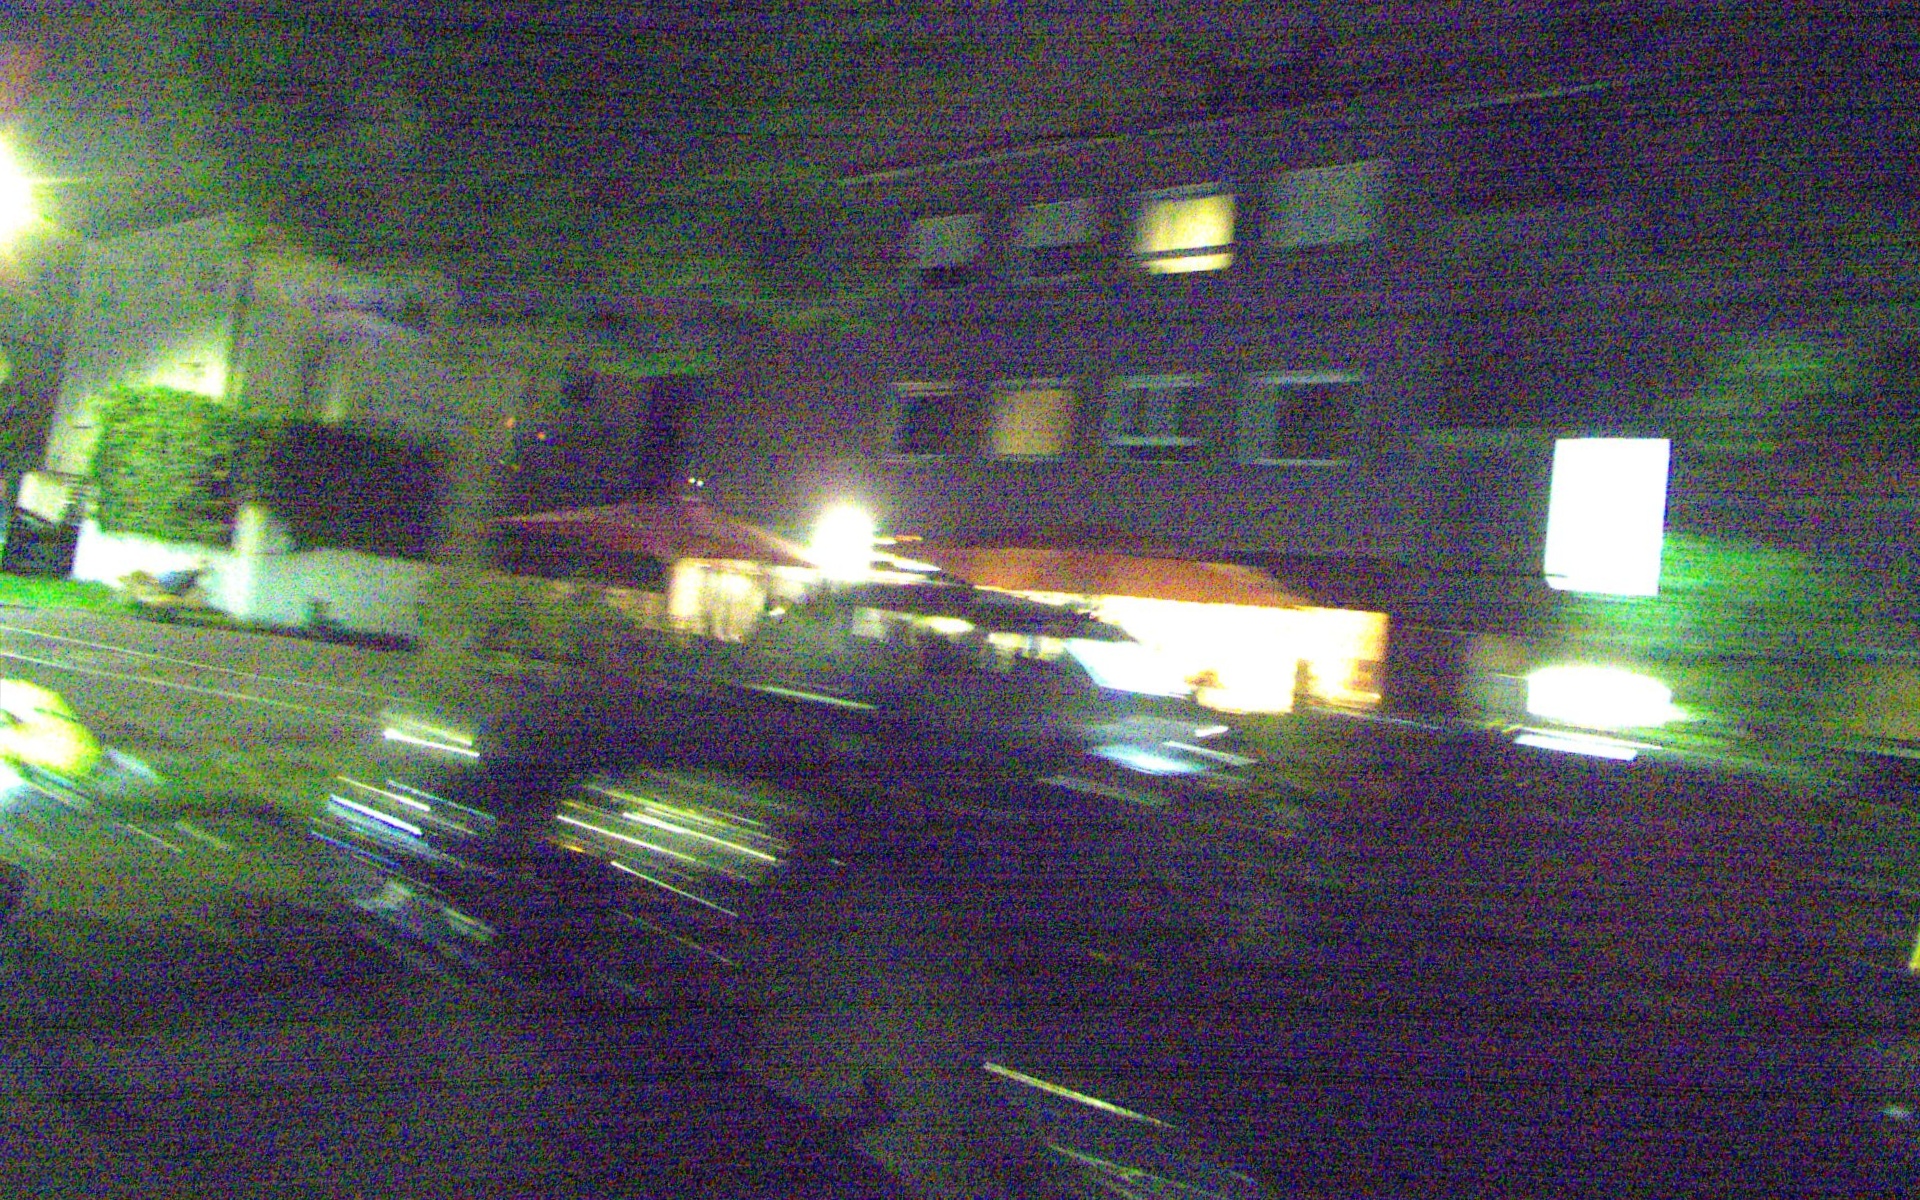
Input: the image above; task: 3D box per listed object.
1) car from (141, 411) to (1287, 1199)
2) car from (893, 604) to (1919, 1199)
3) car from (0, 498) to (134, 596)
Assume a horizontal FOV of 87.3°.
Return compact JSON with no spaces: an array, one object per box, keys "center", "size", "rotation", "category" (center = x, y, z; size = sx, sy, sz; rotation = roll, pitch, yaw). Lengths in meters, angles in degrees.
[{"center":[-0.383,0.703,4.316],"size":[2.000,1.836,4.359],"rotation":[7,-3,36],"category":"car"},{"center":[1.604,1.059,2.965],"size":[1.822,1.531,3.928],"rotation":[7,-2,28],"category":"car"},{"center":[-17.246,-1.085,17.551],"size":[1.802,1.503,3.912],"rotation":[7,-2,30],"category":"car"}]
